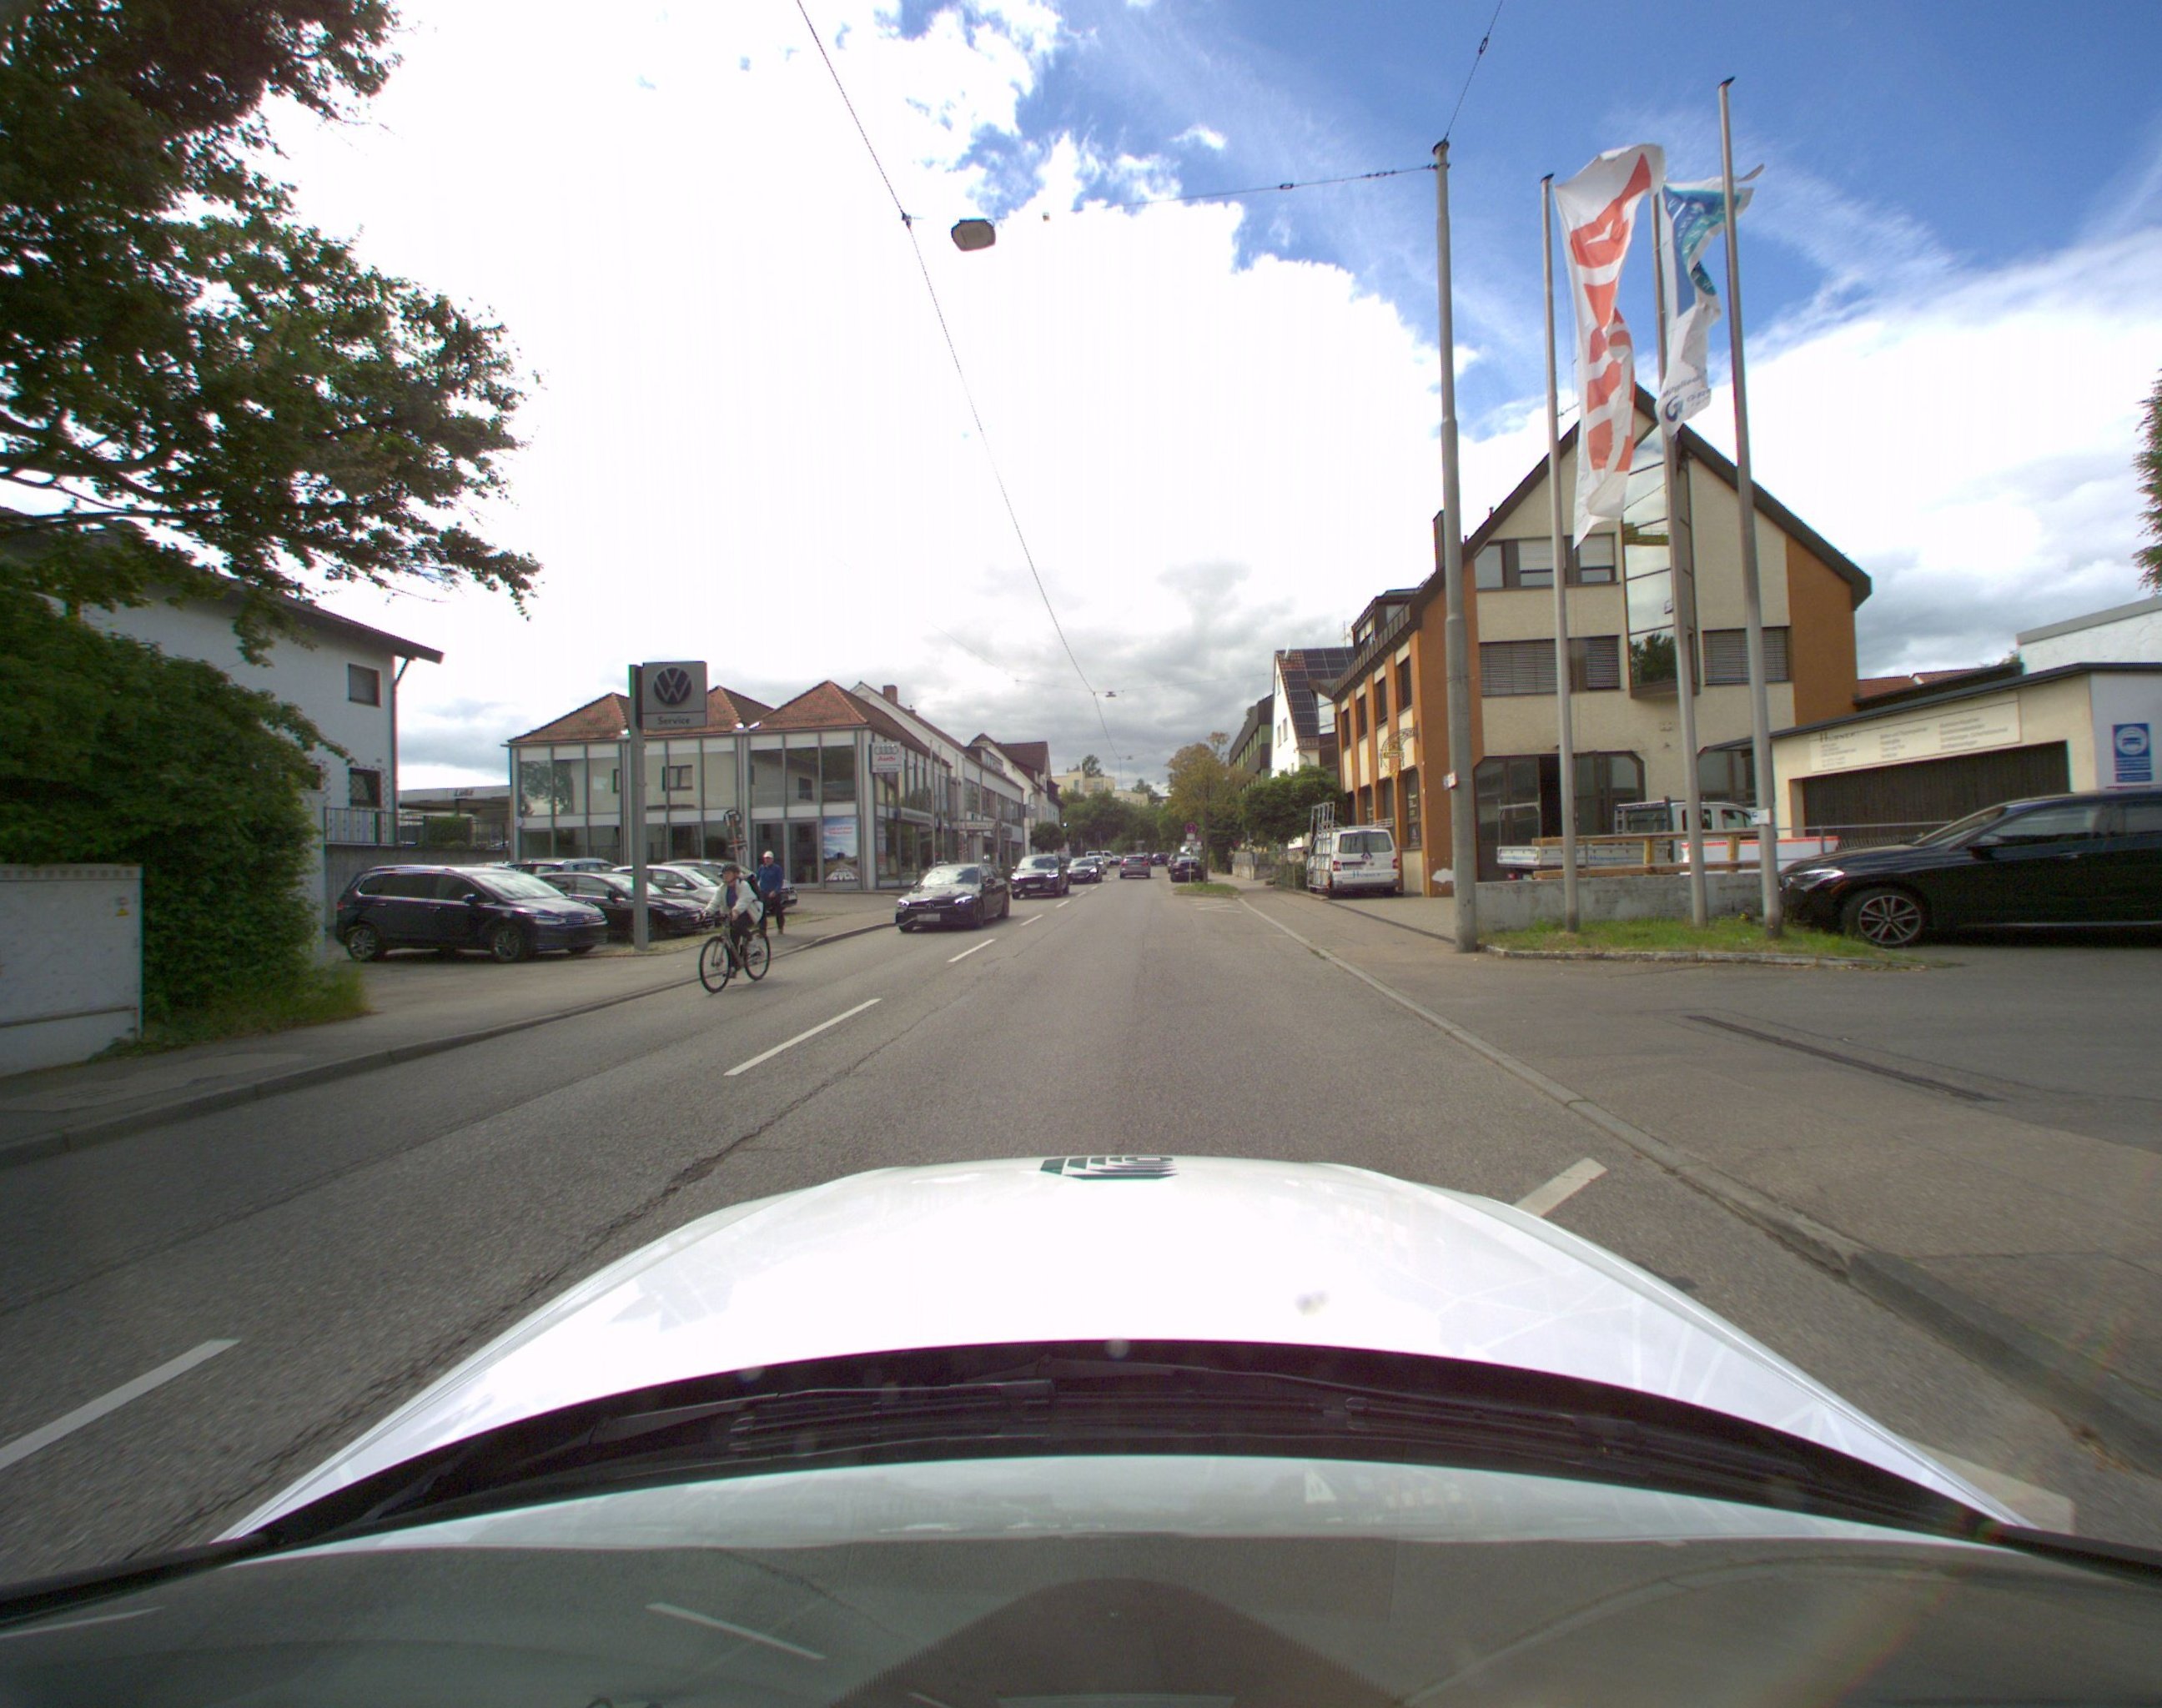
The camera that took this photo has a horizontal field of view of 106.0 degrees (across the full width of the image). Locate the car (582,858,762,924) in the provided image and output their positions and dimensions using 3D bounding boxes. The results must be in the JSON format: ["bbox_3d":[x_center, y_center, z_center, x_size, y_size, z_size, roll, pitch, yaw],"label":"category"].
[{"bbox_3d":[-10.170,0.888,20.402,3.723,1.560,1.536,0,0,3],"label":"car"}]

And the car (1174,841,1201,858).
[{"bbox_3d":[16.310,-0.688,124.483,2.043,2.353,5.216,-5,0,30],"label":"car"}]

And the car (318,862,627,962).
[{"bbox_3d":[-10.869,0.996,14.742,4.268,1.641,1.907,-1,0,5],"label":"car"}]

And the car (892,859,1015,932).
[{"bbox_3d":[-2.869,0.891,19.372,1.731,1.429,4.531,-3,0,6],"label":"car"}]

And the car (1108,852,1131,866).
[{"bbox_3d":[4.647,0.558,98.461,1.762,1.523,4.481,-1,0,16],"label":"car"}]

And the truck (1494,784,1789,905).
[{"bbox_3d":[12.605,-0.215,18.676,5.063,2.457,2.361,-2,1,5],"label":"truck"}]

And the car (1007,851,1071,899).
[{"bbox_3d":[-1.539,0.758,31.459,1.822,1.630,4.327,-2,0,5],"label":"car"}]

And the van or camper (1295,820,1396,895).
[{"bbox_3d":[7.827,0.125,24.554,1.858,2.032,4.553,-1,-1,4],"label":"van or camper"}]

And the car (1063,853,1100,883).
[{"bbox_3d":[0.062,0.754,45.439,1.823,1.523,4.173,-2,-1,3],"label":"car"}]

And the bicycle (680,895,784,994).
[{"bbox_3d":[-4.546,1.135,10.748,0.452,1.087,1.871,-3,0,2],"label":"bicycle"}]

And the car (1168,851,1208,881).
[{"bbox_3d":[5.848,0.653,44.927,1.975,1.448,4.758,-2,-1,5],"label":"car"}]

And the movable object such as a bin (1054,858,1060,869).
[{"bbox_3d":[-2.426,0.941,82.804,0.562,1.101,0.563,0,-1,1],"label":"movable object such as a bin"}]

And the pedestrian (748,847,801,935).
[{"bbox_3d":[-6.199,0.732,16.496,0.679,1.737,0.869,-1,-1,5],"label":"pedestrian"}]

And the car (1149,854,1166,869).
[{"bbox_3d":[8.226,0.782,87.262,1.608,1.523,3.572,-2,-1,3],"label":"car"}]

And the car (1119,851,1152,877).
[{"bbox_3d":[3.430,0.656,51.192,1.947,1.523,4.334,-2,-2,4],"label":"car"}]

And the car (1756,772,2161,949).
[{"bbox_3d":[10.034,0.074,8.671,4.263,1.630,1.646,-5,0,41],"label":"car"}]

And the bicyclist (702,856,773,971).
[{"bbox_3d":[-4.569,0.768,10.881,0.467,1.449,0.865,-3,0,2],"label":"bicyclist"}]

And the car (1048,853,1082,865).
[{"bbox_3d":[-2.094,0.695,106.316,3.985,1.413,1.824,-2,-2,17],"label":"car"}]

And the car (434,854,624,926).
[{"bbox_3d":[-14.352,0.856,21.544,1.798,1.585,4.334,1,1,5],"label":"car"}]

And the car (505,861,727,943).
[{"bbox_3d":[-9.899,0.997,17.514,3.723,1.518,1.731,-2,0,3],"label":"car"}]

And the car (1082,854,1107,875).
[{"bbox_3d":[1.132,0.865,65.284,1.682,1.579,3.804,-2,-1,4],"label":"car"}]

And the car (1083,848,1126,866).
[{"bbox_3d":[3.111,0.387,107.904,5.167,1.993,2.120,-4,-1,21],"label":"car"}]

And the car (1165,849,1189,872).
[{"bbox_3d":[7.586,0.463,64.153,1.681,1.666,4.471,-2,1,7],"label":"car"}]

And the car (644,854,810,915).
[{"bbox_3d":[-9.995,0.822,23.169,3.996,1.630,1.656,0,0,3],"label":"car"}]
